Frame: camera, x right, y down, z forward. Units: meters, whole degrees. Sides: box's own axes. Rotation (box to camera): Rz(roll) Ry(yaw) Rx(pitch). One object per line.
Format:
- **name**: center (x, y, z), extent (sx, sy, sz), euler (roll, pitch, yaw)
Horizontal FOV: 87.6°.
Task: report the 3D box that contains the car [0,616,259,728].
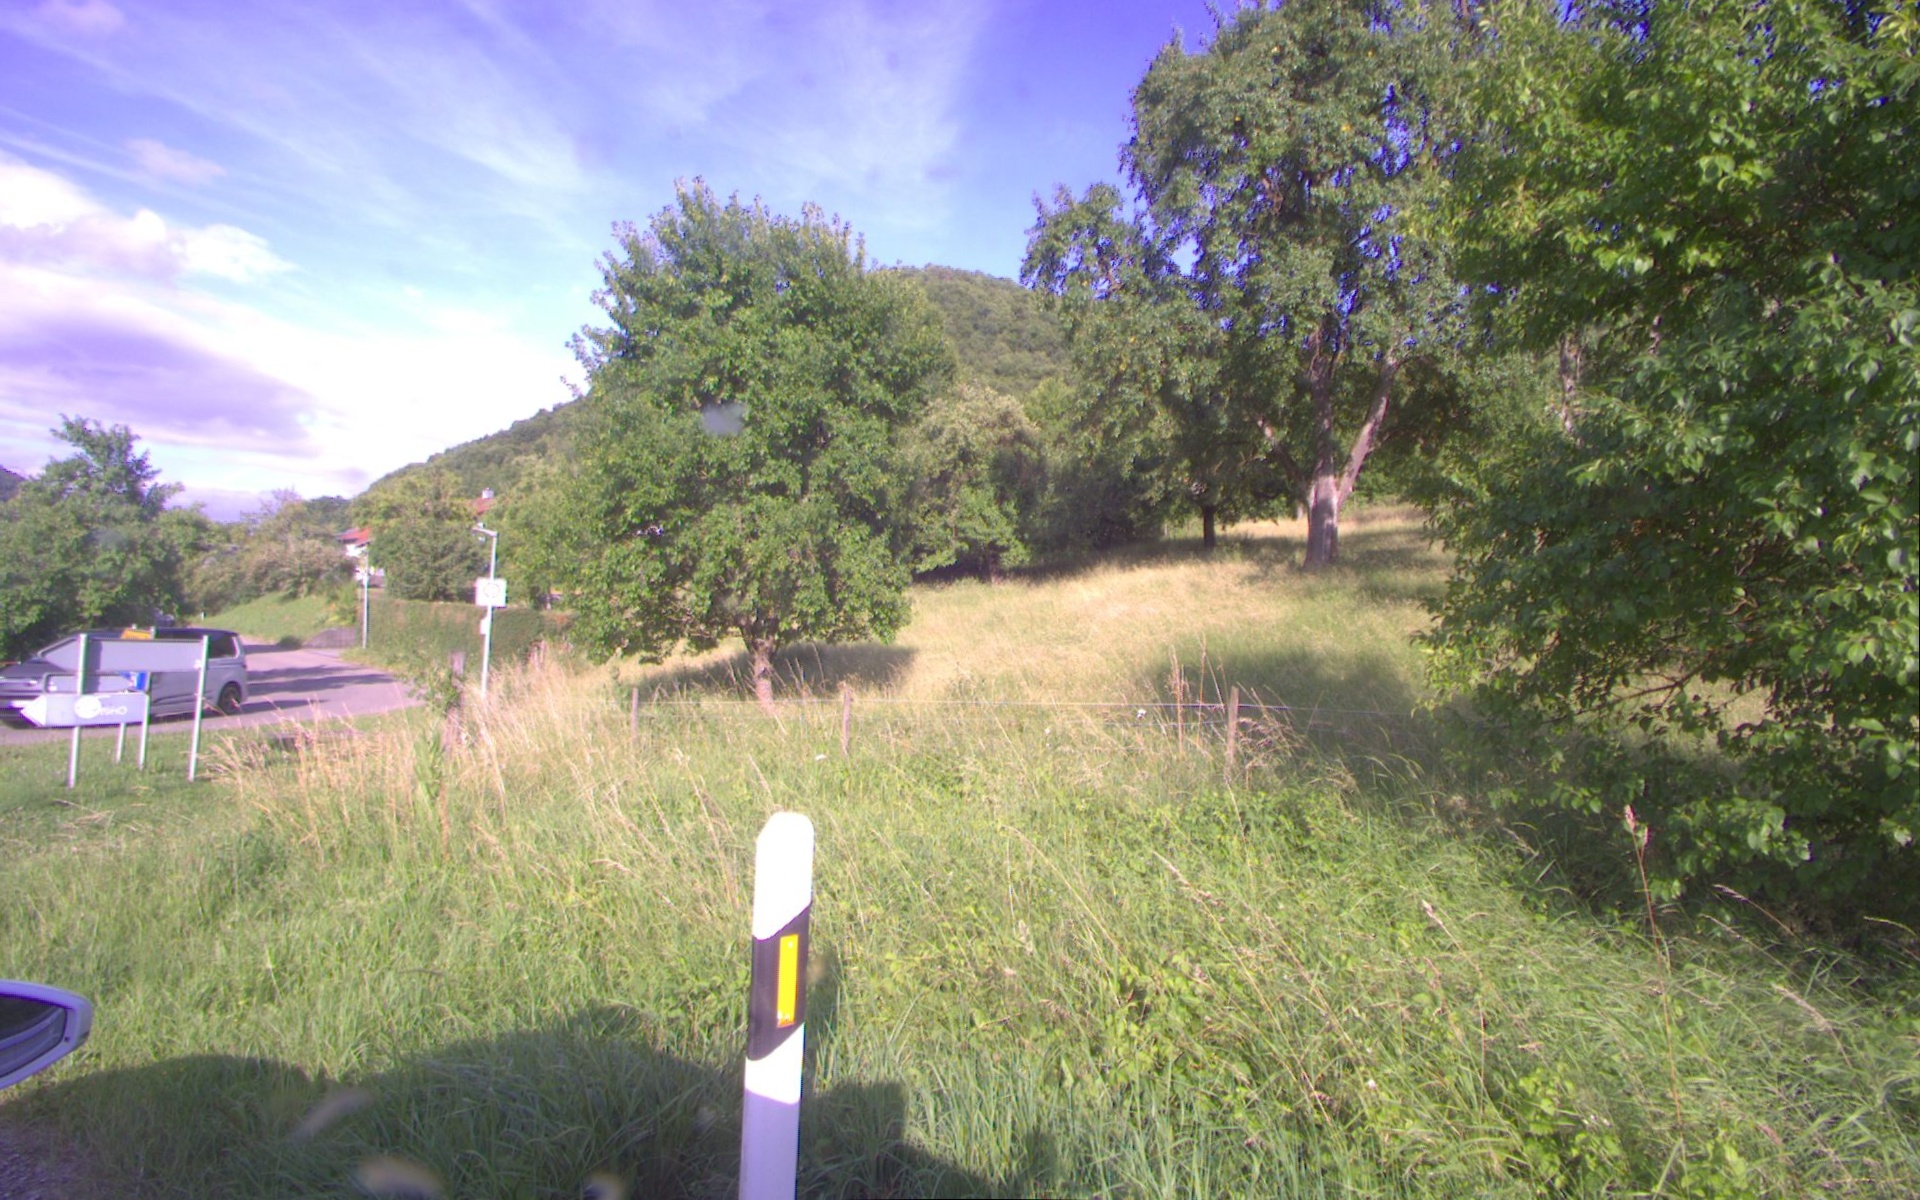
- **car**: center (-16.508, 1.363, 19.962), extent (1.962, 1.900, 4.872), euler (2, -3, -6)
